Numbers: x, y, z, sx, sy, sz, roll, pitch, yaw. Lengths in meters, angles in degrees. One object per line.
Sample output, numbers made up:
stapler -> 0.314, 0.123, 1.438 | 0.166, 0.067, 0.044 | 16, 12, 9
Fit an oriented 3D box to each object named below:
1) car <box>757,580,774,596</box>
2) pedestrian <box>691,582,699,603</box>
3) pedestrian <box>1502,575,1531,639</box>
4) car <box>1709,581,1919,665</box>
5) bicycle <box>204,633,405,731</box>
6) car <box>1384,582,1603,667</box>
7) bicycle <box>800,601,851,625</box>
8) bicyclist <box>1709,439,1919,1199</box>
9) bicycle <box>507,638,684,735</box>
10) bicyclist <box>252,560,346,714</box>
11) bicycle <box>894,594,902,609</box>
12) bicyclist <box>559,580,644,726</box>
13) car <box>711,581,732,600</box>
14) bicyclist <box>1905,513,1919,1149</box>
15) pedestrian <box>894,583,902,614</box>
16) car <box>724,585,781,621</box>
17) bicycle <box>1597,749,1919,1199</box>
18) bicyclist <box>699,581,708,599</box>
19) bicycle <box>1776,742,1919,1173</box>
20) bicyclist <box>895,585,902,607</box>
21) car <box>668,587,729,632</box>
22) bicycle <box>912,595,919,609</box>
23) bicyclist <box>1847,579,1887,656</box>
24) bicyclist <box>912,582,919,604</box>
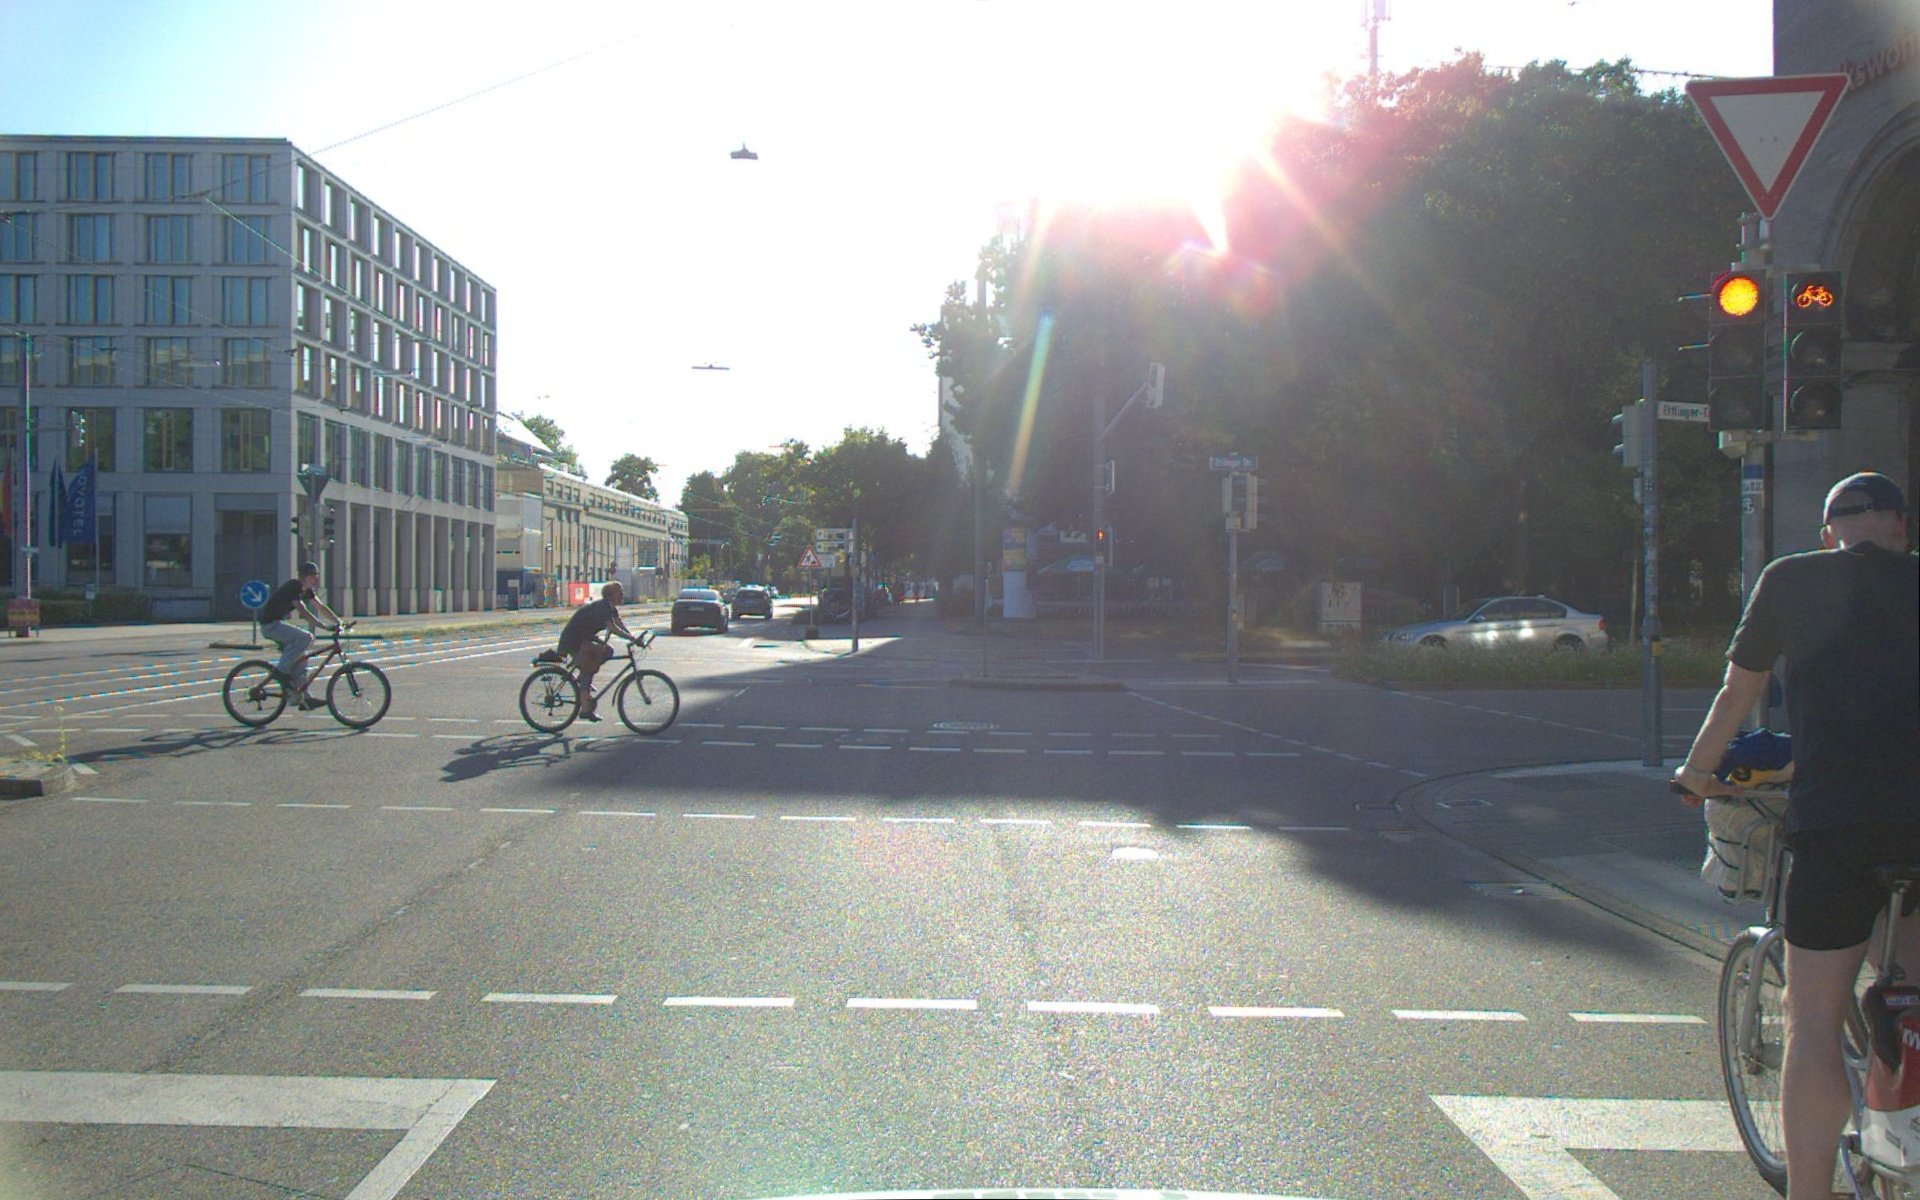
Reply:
car -> -22.838, -1.425, 194.361 | 1.659, 1.748, 4.244 | 1, 0, -4
pedestrian -> -25.333, -0.726, 158.161 | 0.660, 2.049, 0.751 | 1, -1, -3
pedestrian -> 14.895, 0.178, 44.287 | 0.571, 1.692, 0.514 | 1, 1, 1
car -> 17.501, 0.445, 33.663 | 3.770, 1.639, 1.650 | 0, 0, -1
bicycle -> -6.690, 0.831, 16.934 | 1.821, 0.951, 0.559 | 0, 0, -6
car -> 10.773, 0.480, 33.563 | 3.912, 1.639, 1.650 | 0, 0, -1
bicycle -> -5.488, 0.511, 67.383 | 1.976, 0.907, 0.650 | -2, -1, 27
bicyclist -> 2.094, 0.580, 3.732 | 0.547, 1.830, 0.550 | 1, 0, 1
bicycle -> -3.744, 0.883, 17.079 | 1.709, 0.951, 0.645 | 0, 0, -5
bicyclist -> -6.773, 0.372, 16.980 | 0.748, 1.550, 0.606 | 0, 0, -5
bicycle -> -4.782, 0.113, 127.858 | 0.563, 1.096, 1.830 | 0, 0, -1
bicyclist -> -3.696, 0.535, 17.094 | 0.783, 1.476, 0.617 | 0, 0, -6
car -> -22.478, -0.889, 156.112 | 1.659, 1.748, 4.244 | 1, 0, -4
bicyclist -> 2.888, 0.630, 4.231 | 0.546, 1.721, 0.640 | 1, 0, -2
pedestrian -> -3.663, -0.082, 97.914 | 0.454, 1.845, 0.502 | 0, 0, -5
car -> -9.955, 0.101, 79.632 | 1.853, 1.592, 4.810 | 3, 1, 3
bicycle -> 2.076, 0.983, 3.890 | 0.505, 1.096, 1.728 | 1, 0, 1
bicyclist -> -19.483, -0.755, 125.538 | 0.584, 1.401, 0.637 | 1, -1, -2
bicycle -> 2.863, 1.002, 4.338 | 0.523, 1.096, 1.750 | 1, 0, -2
bicyclist -> -4.773, -0.295, 127.906 | 0.558, 1.721, 0.699 | 0, 0, -1
car -> -8.984, 0.303, 57.062 | 1.627, 1.481, 4.429 | 1, 0, -3
bicycle -> -3.460, 0.136, 128.087 | 0.563, 1.096, 1.830 | 0, 0, -1
bicyclist -> 20.204, 0.385, 36.840 | 0.630, 1.712, 0.507 | 0, 0, 5
bicyclist -> -3.455, -0.531, 128.061 | 0.558, 1.721, 0.699 | 0, 0, -1
